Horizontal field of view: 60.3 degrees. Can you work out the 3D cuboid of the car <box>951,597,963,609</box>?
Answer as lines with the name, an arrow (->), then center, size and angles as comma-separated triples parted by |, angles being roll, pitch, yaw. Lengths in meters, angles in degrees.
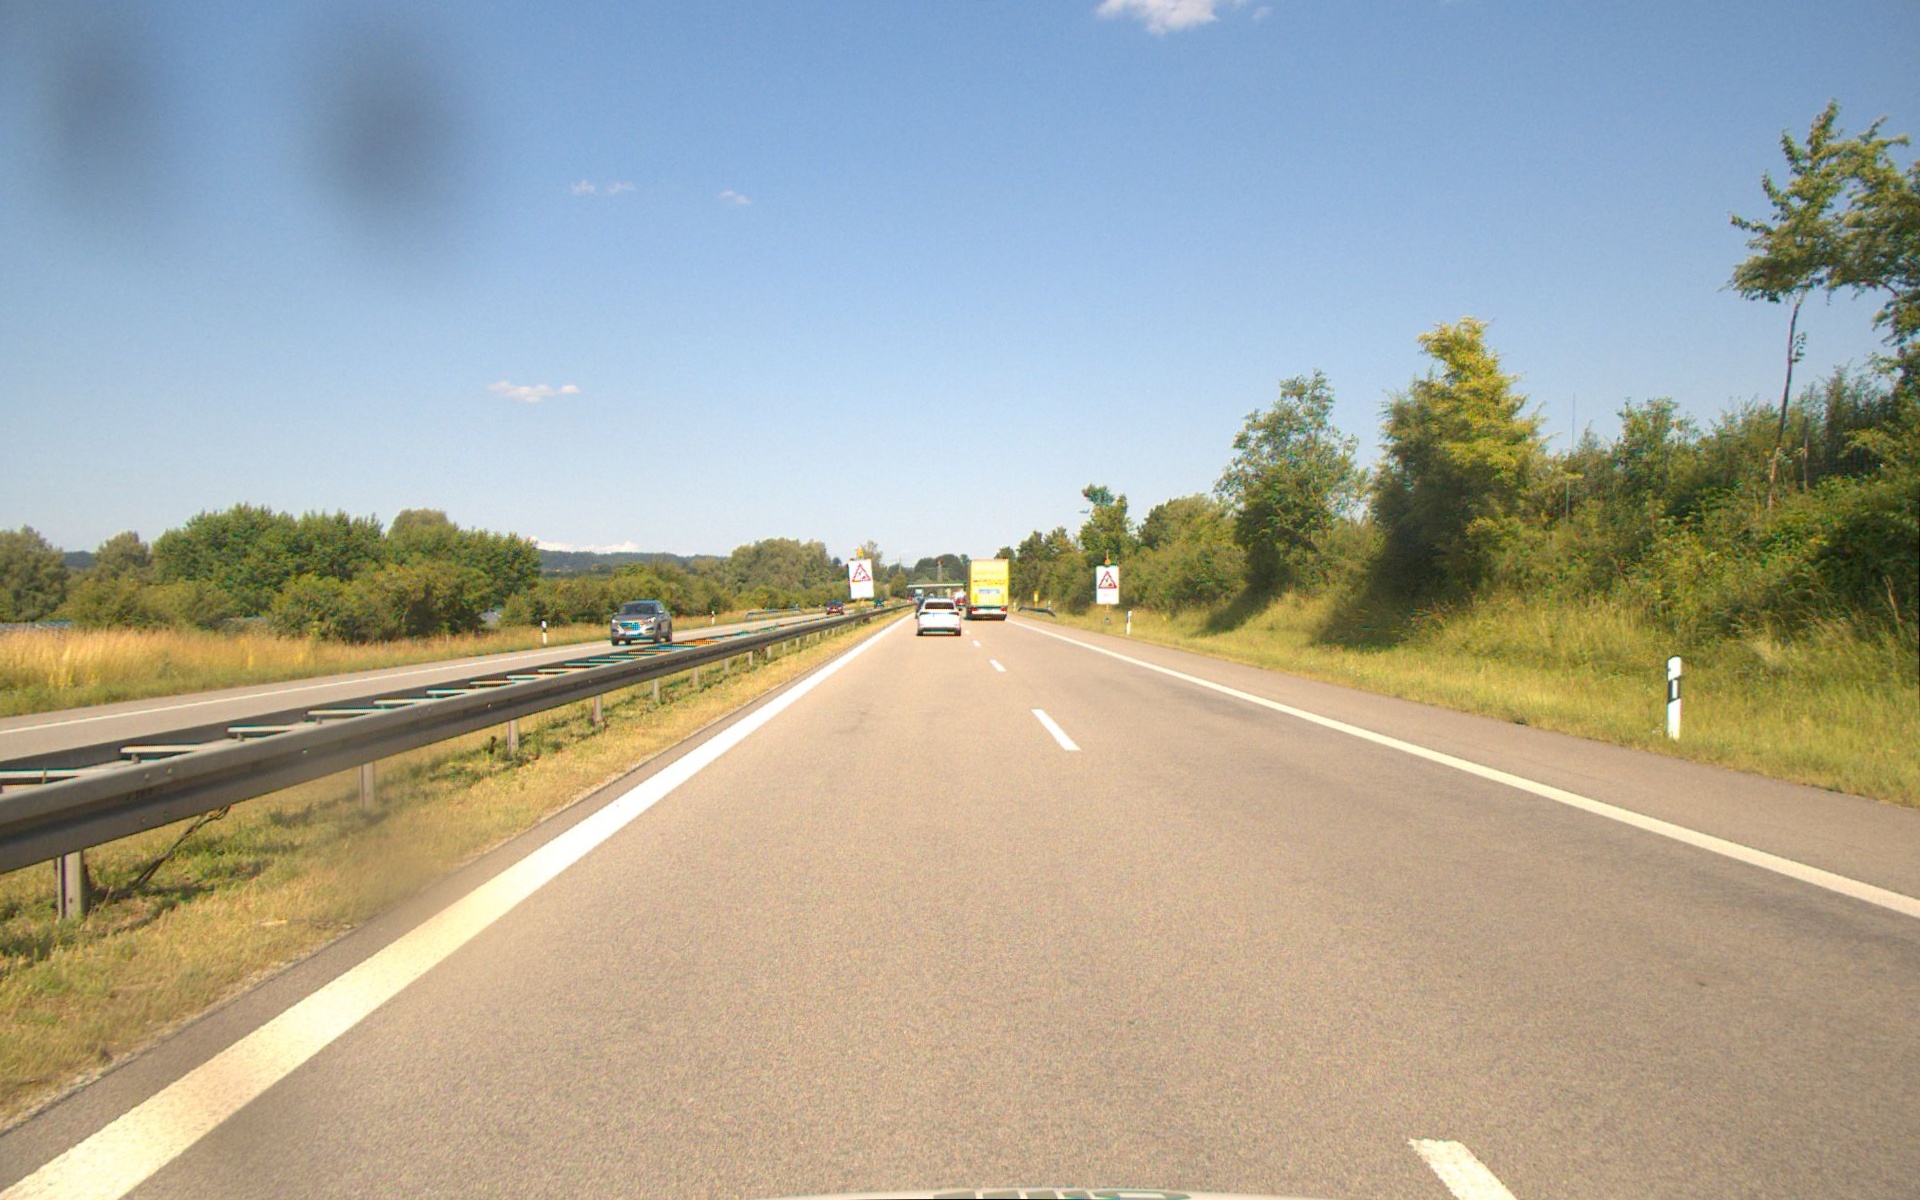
car -> -0.467, 0.448, 255.713 | 1.863, 1.712, 4.730 | 2, 0, -1

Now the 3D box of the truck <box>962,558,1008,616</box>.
truck -> 1.801, -0.954, 123.374 | 3.104, 4.186, 6.386 | 1, 0, -1

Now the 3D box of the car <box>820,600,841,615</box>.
car -> -13.696, 0.747, 175.022 | 1.795, 1.422, 4.921 | -4, 0, -2

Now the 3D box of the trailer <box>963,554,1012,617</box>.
trailer -> 1.831, -0.967, 117.391 | 3.119, 4.130, 13.185 | 1, 0, 0

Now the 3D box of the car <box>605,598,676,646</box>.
car -> -12.409, 0.831, 64.530 | 1.863, 1.712, 4.730 | -2, 0, -1

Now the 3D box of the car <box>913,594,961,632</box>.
car -> -0.901, 0.506, 66.089 | 1.805, 1.440, 4.000 | 1, 0, 0

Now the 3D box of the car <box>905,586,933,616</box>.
car -> -2.925, 0.062, 118.328 | 1.953, 2.049, 3.999 | 1, 0, -1
